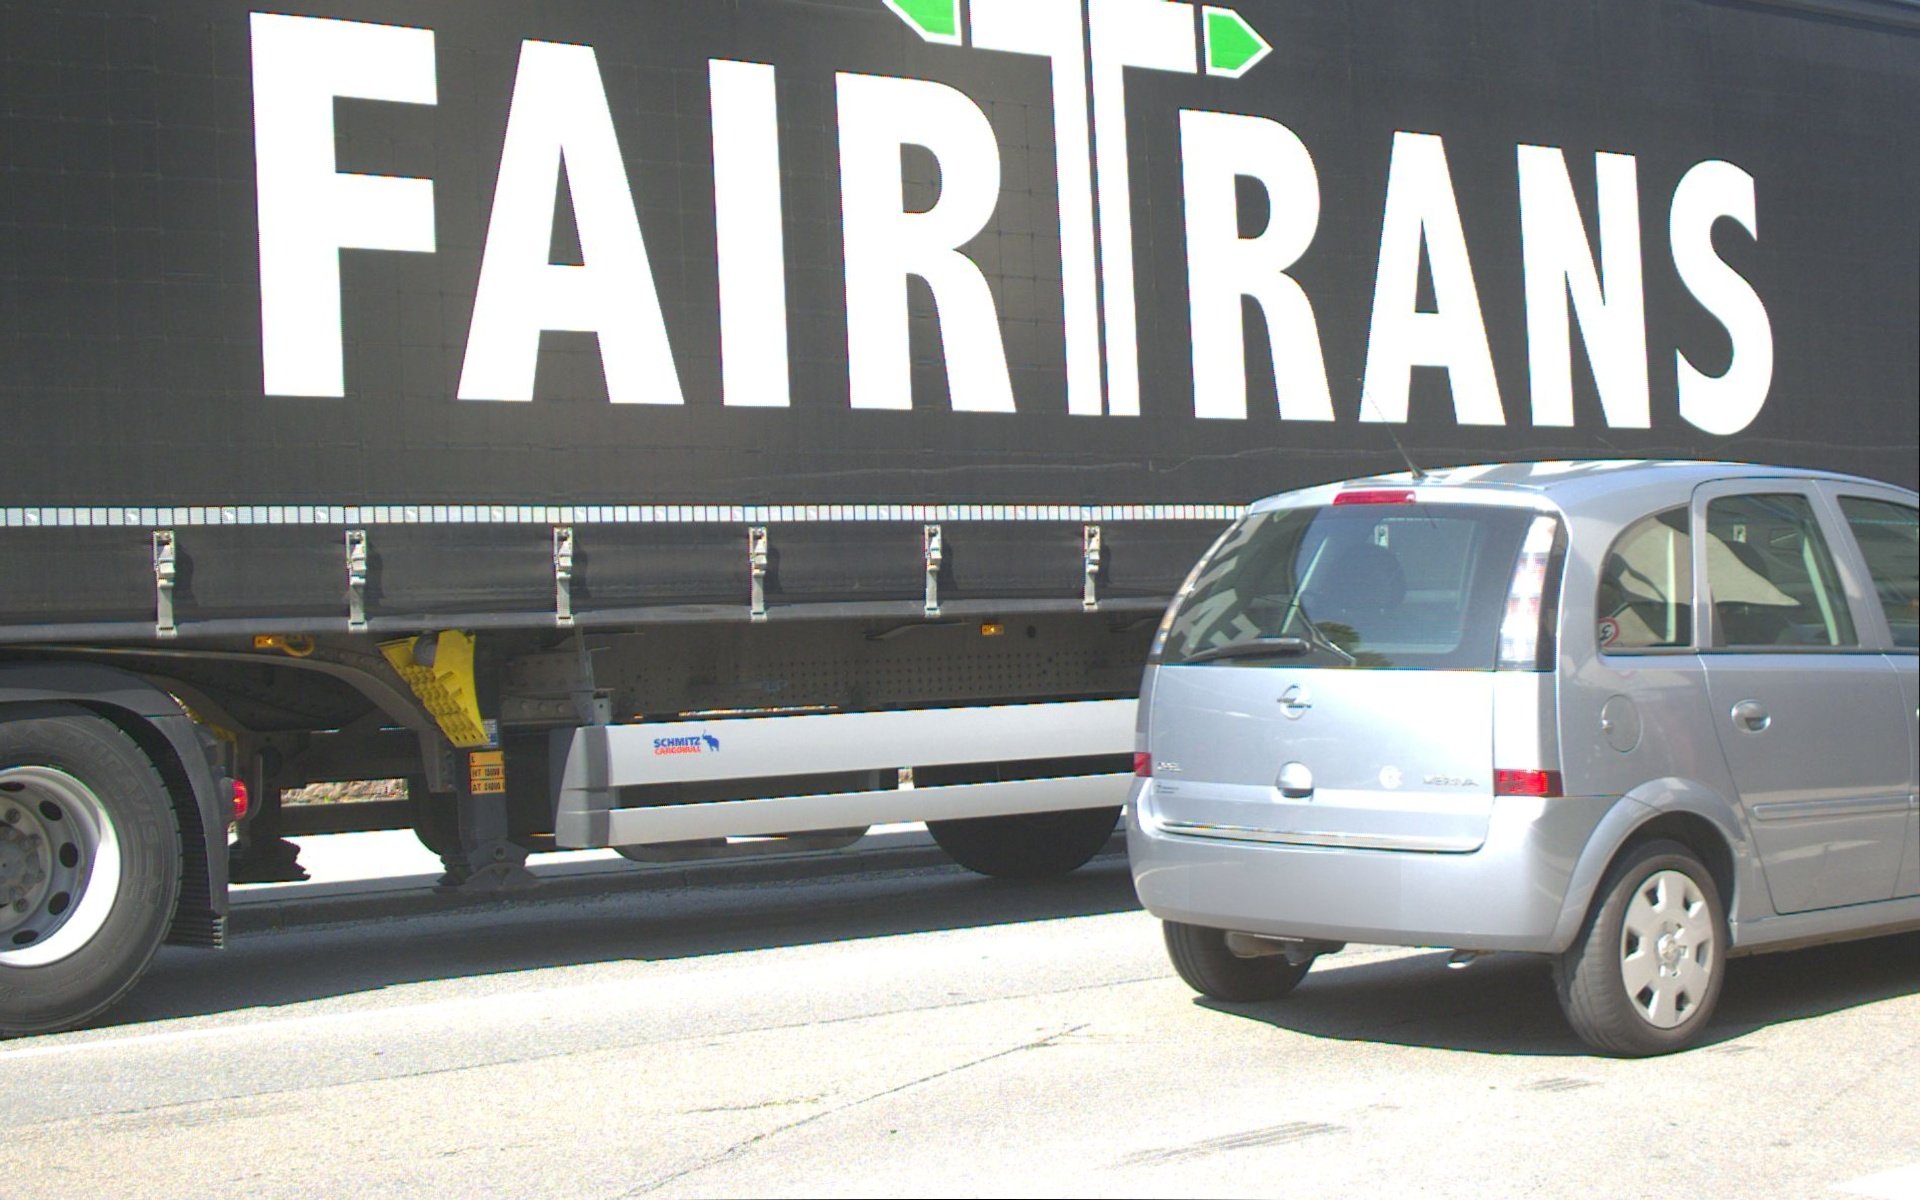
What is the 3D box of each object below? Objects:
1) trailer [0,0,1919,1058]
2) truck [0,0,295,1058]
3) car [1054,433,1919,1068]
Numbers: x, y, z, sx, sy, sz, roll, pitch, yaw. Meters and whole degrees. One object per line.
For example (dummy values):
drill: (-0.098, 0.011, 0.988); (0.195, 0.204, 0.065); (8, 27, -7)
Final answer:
trailer: (-0.103, -0.806, 14.071); (13.732, 4.090, 2.841); (-2, -1, -40)
truck: (-5.276, -0.616, 9.680); (5.915, 4.057, 2.838); (-2, -1, -41)
car: (2.223, 0.329, 10.549); (3.729, 1.605, 1.692); (-2, 2, -42)
